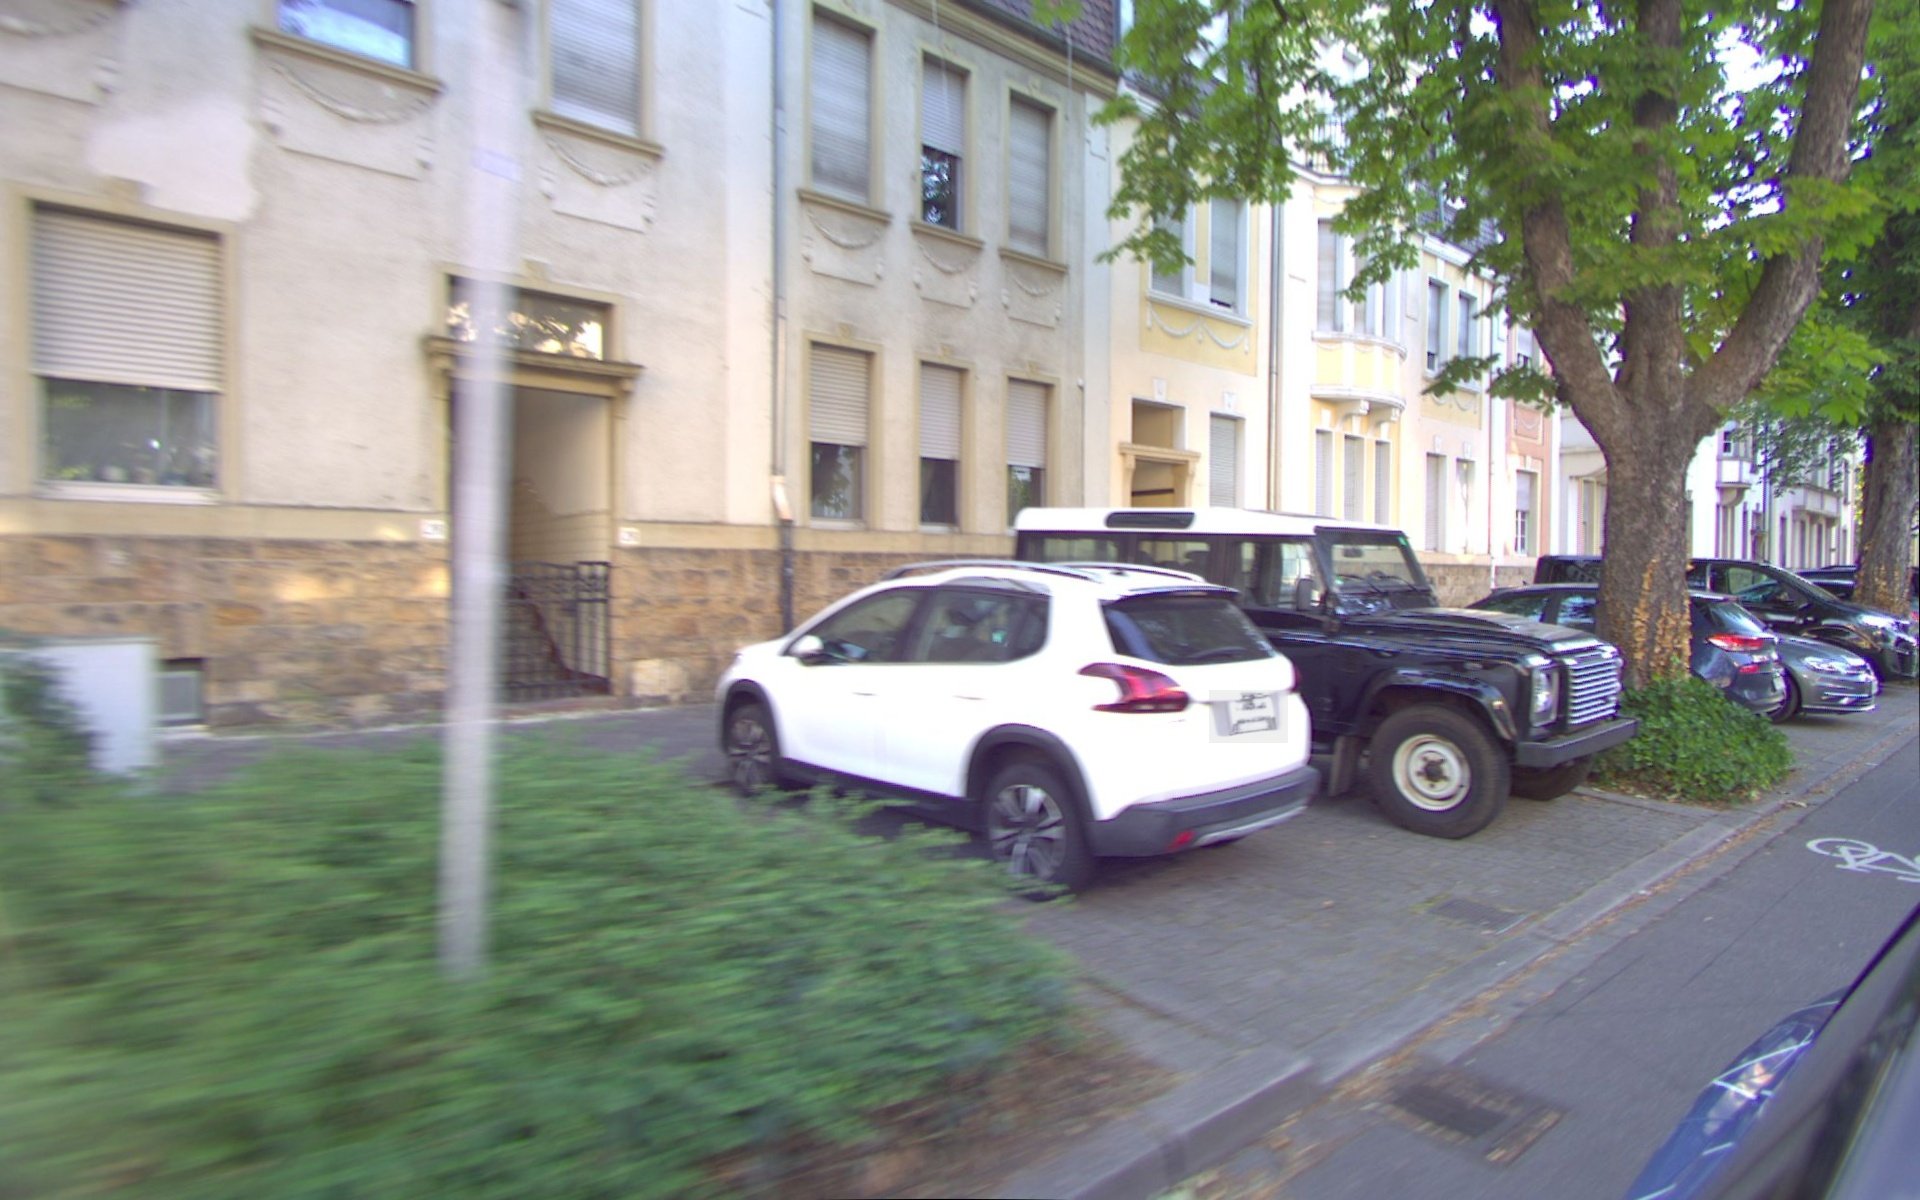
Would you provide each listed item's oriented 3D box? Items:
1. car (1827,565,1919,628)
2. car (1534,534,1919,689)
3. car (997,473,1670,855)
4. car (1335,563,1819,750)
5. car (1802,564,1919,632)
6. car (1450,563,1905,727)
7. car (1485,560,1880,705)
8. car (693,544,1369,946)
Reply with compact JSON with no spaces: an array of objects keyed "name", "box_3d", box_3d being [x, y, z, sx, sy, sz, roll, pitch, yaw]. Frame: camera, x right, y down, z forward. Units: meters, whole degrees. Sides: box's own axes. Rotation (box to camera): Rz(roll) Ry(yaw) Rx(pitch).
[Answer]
[{"name":"car","box_3d":[29.820,-0.124,31.059,1.966,1.897,4.704,-1,1,-42]},{"name":"car","box_3d":[11.815,0.119,15.685,1.966,2.039,4.704,-1,1,-42]},{"name":"car","box_3d":[2.408,0.209,7.547,1.729,2.008,4.430,-4,5,-40]},{"name":"car","box_3d":[6.603,0.468,11.189,1.940,1.649,4.203,-1,1,-42]},{"name":"car","box_3d":[27.732,-0.077,29.494,1.966,1.897,4.704,-1,1,-42]},{"name":"car","box_3d":[8.507,0.415,12.289,1.966,1.627,4.203,-1,1,-42]},{"name":"car","box_3d":[9.975,0.353,14.221,1.966,1.709,4.203,-1,1,-42]},{"name":"car","box_3d":[0.102,0.502,6.077,1.655,1.595,4.042,0,2,-42]}]
